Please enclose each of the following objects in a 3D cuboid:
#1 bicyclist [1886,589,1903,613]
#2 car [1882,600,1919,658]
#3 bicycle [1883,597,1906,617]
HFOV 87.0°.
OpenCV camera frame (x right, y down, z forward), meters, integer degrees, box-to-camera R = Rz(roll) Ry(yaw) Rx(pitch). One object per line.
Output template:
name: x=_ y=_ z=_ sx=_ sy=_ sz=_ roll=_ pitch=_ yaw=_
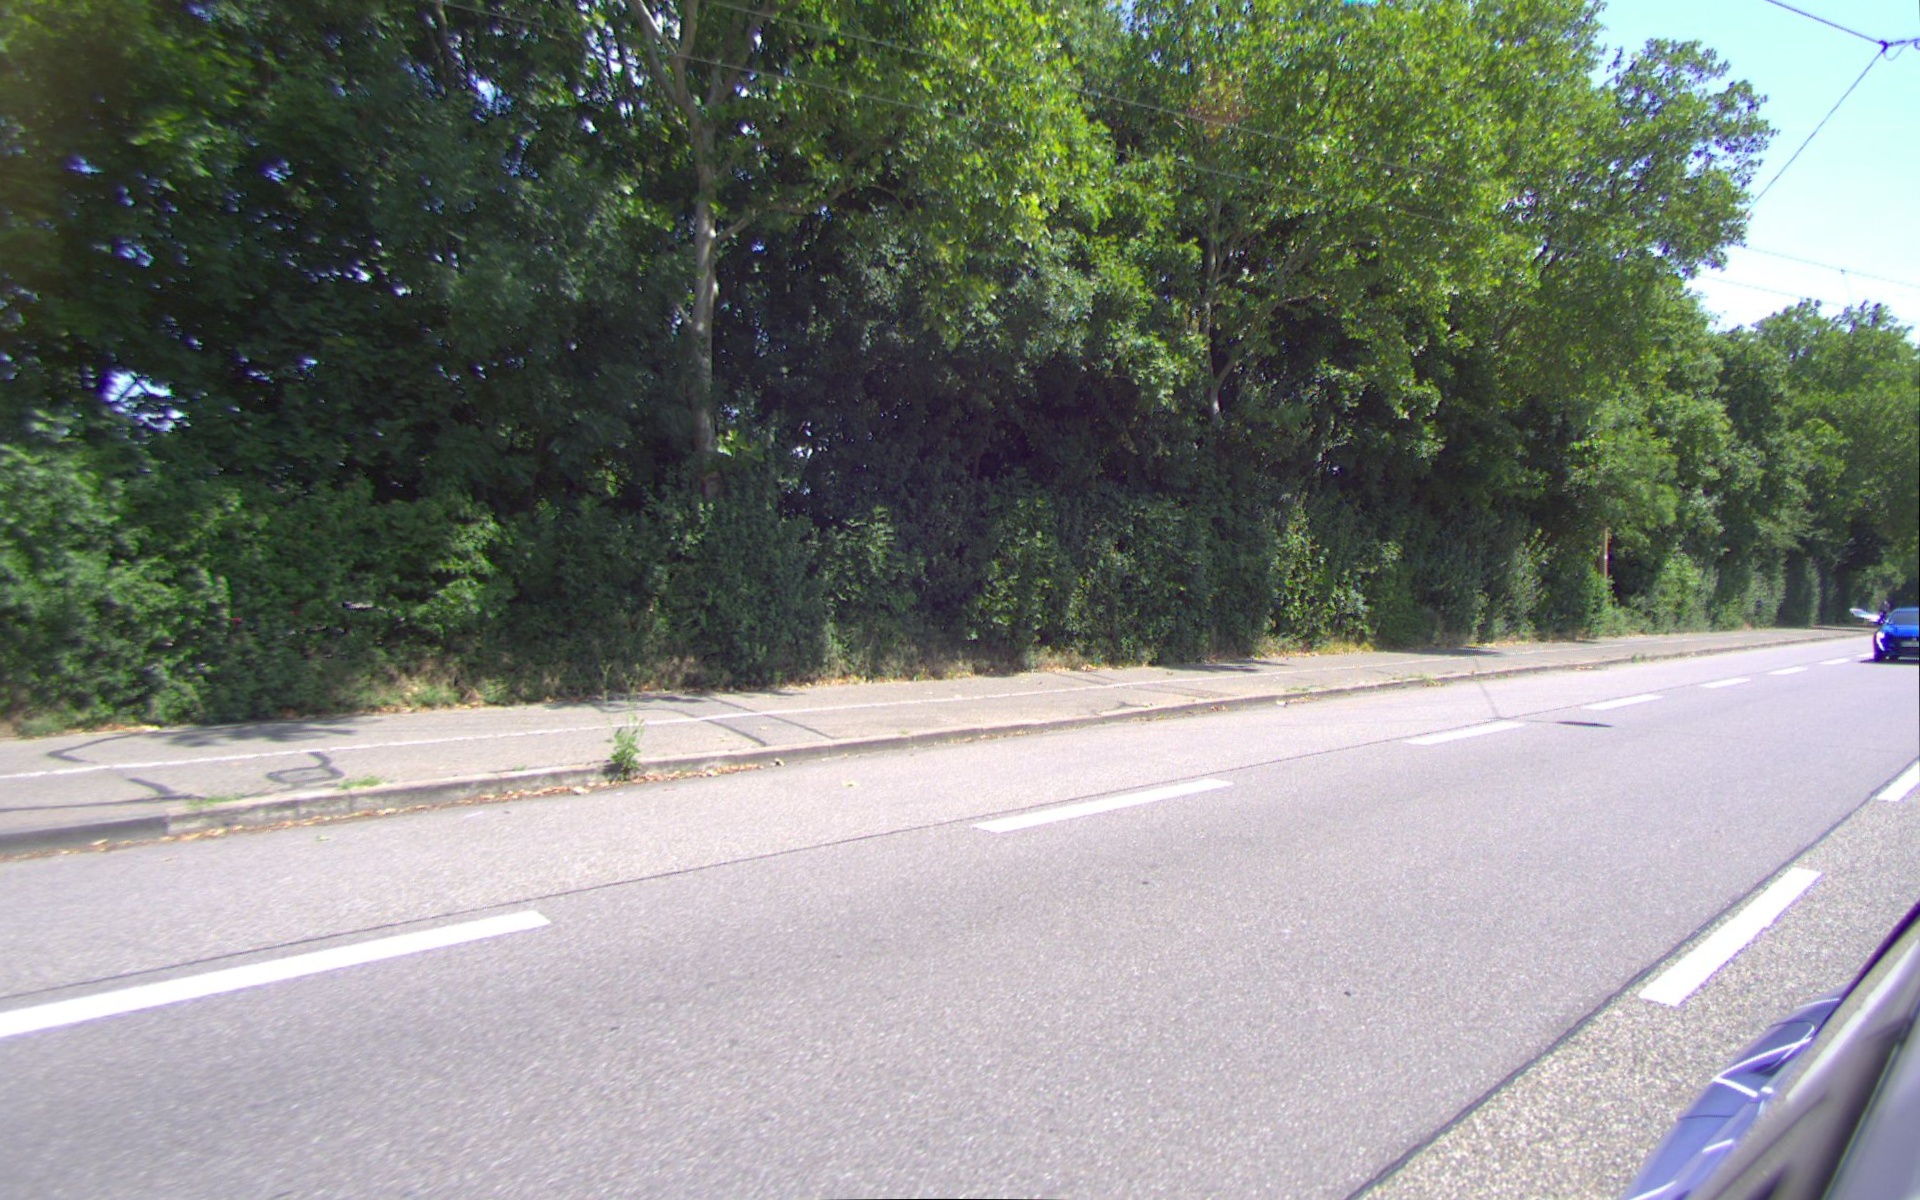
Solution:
bicyclist: x=58.131 y=0.072 z=62.940 sx=0.629 sy=1.457 sz=0.704 roll=1 pitch=1 yaw=-40
car: x=25.754 y=0.729 z=26.751 sx=3.679 sy=1.423 sz=1.658 roll=-1 pitch=0 yaw=-42
bicycle: x=58.102 y=0.434 z=62.916 sx=2.492 sy=1.152 sz=0.710 roll=0 pitch=1 yaw=-39
